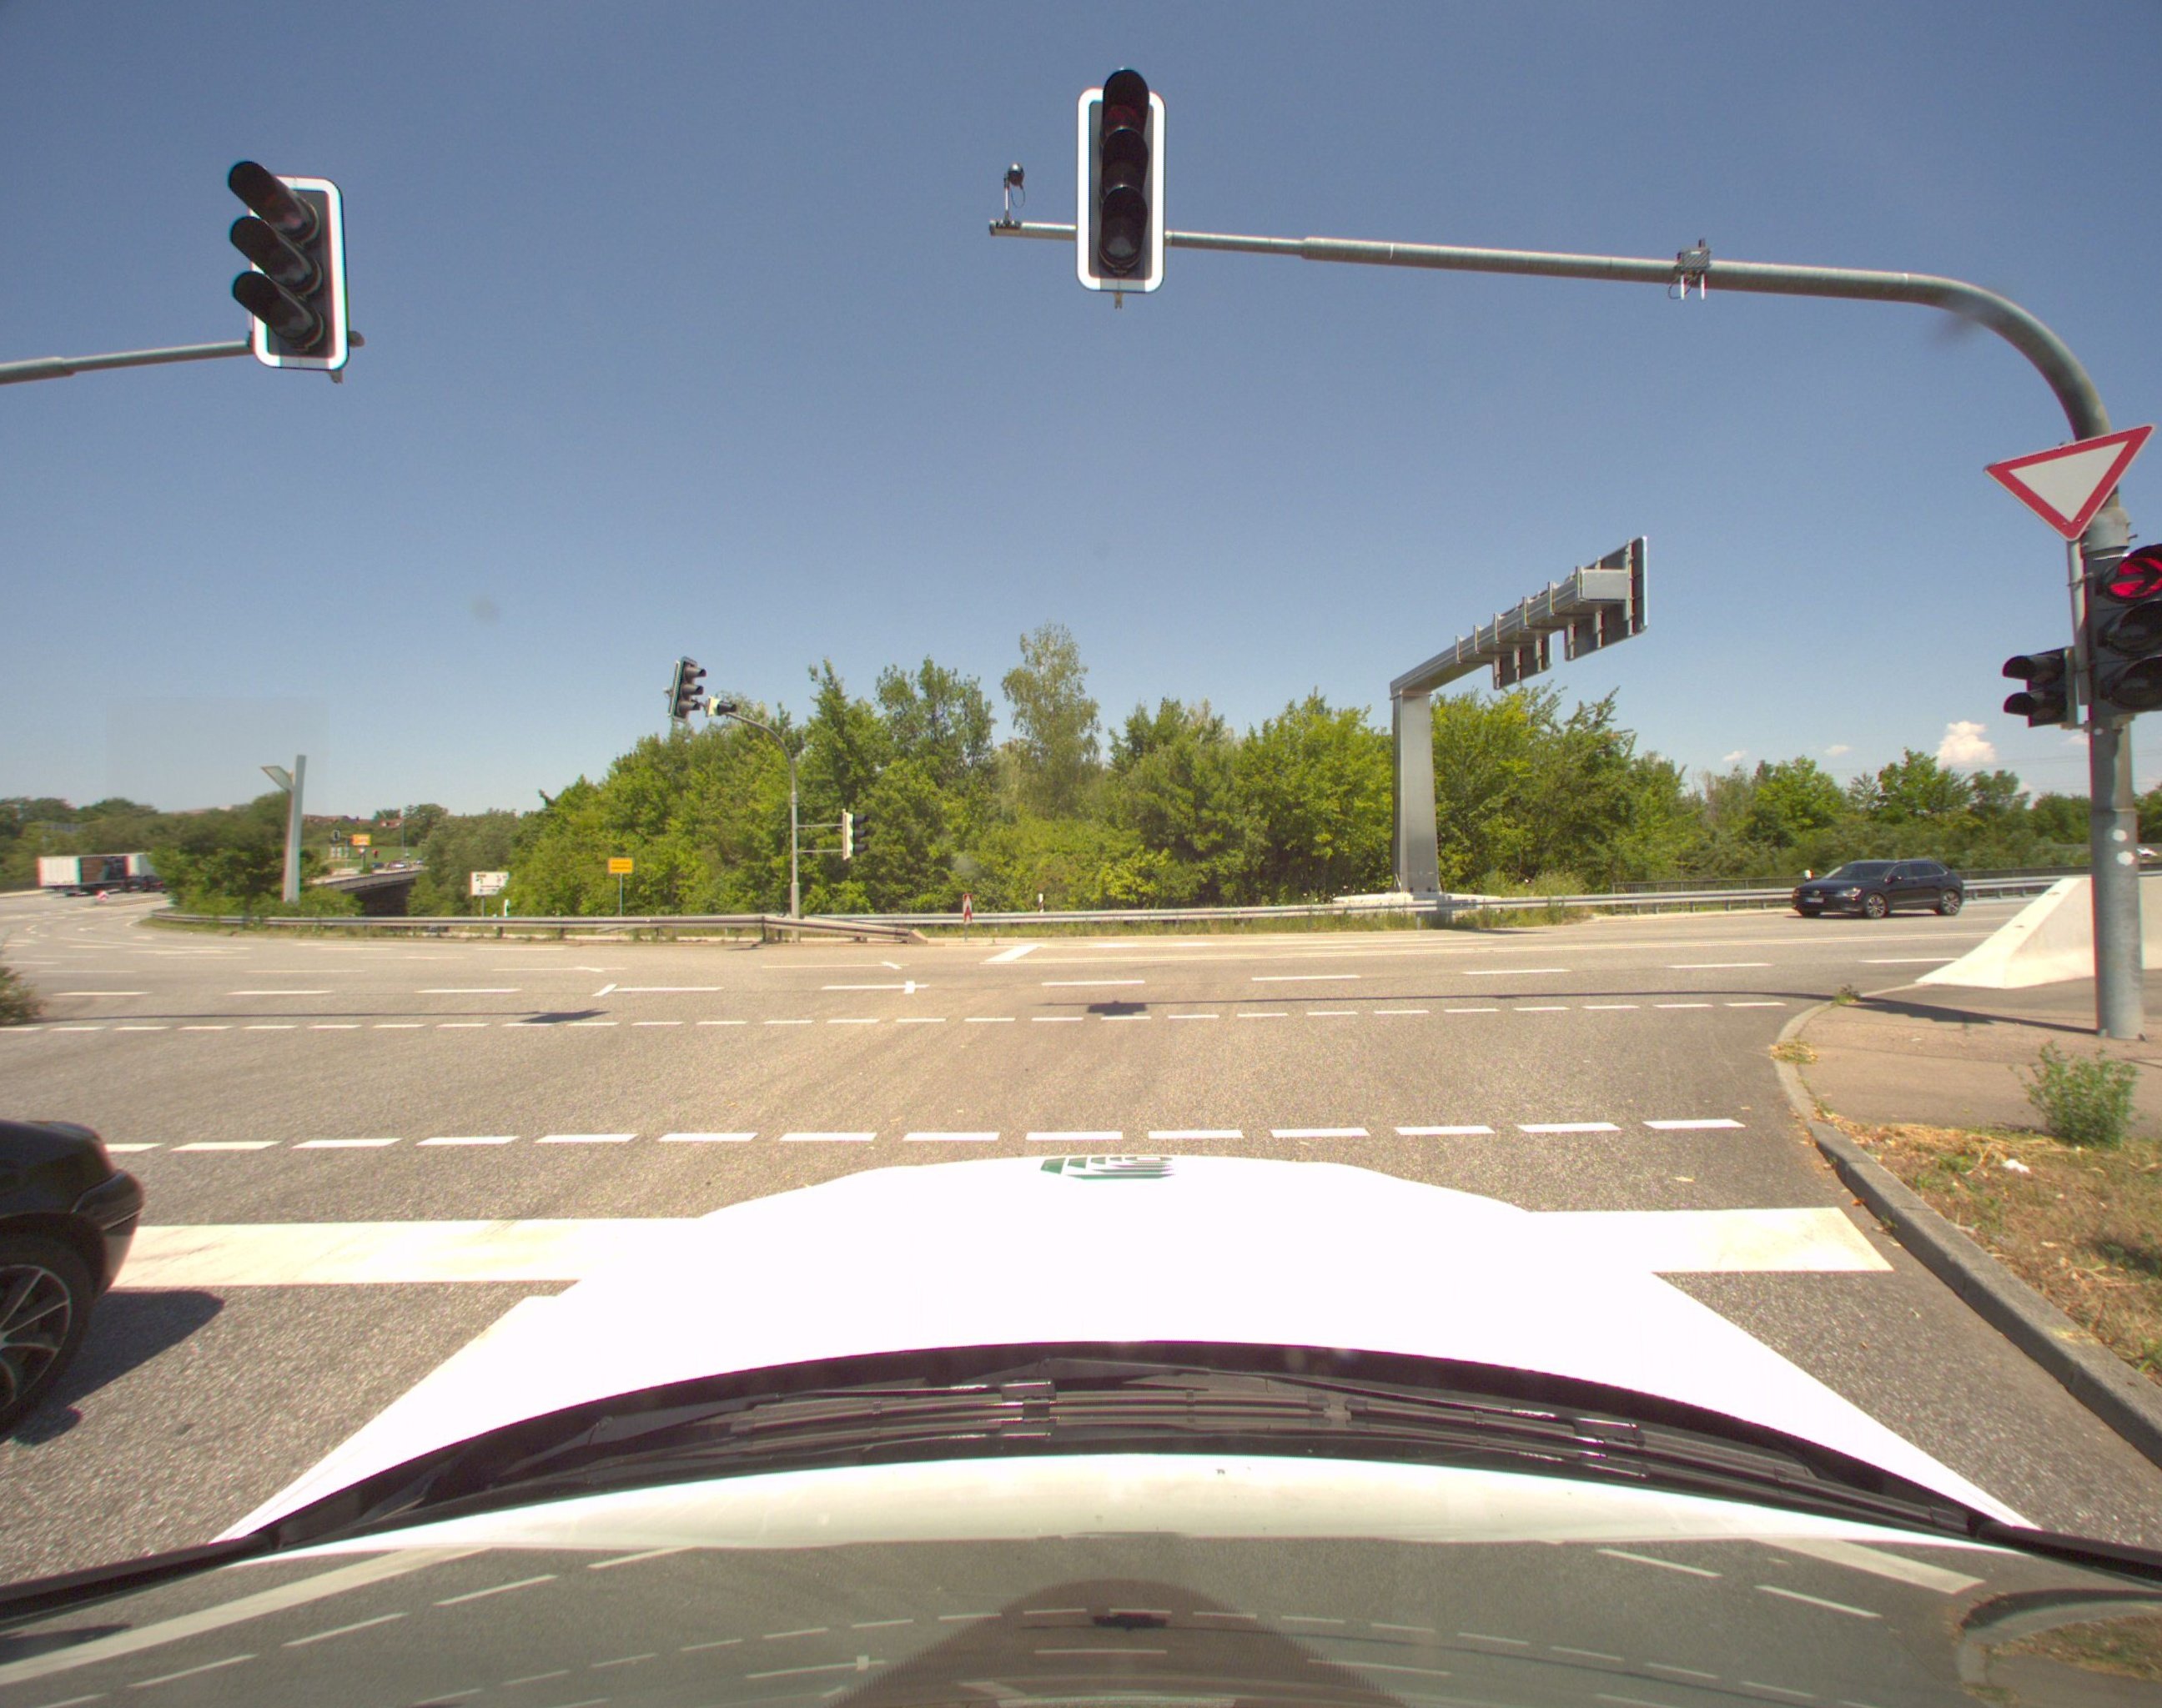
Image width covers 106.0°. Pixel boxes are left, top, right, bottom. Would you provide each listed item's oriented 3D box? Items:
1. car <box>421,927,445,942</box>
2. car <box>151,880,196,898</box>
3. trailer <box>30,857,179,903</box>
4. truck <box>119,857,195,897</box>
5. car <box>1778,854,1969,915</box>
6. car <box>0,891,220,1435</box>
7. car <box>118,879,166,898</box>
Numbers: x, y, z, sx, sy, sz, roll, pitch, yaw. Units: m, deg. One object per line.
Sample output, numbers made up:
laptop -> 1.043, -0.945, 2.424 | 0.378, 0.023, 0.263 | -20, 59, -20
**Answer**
car -> -66.212, 8.218, 83.203 | 1.820, 1.434, 4.362 | 3, -5, -38
car -> -93.735, 3.612, 84.147 | 1.888, 1.622, 3.963 | 0, 0, -29
trailer -> -101.433, 2.511, 85.179 | 3.245, 4.248, 15.290 | 0, 0, -23
truck -> -104.417, 2.508, 92.146 | 3.245, 4.248, 6.189 | 0, 0, -23
car -> 22.802, 0.896, 23.488 | 4.267, 1.632, 1.895 | 0, -5, -14
car -> -3.617, 0.825, 1.025 | 1.615, 1.407, 3.297 | -1, -1, -2
car -> -97.840, 3.538, 84.894 | 1.890, 1.732, 3.964 | 0, 0, -28
